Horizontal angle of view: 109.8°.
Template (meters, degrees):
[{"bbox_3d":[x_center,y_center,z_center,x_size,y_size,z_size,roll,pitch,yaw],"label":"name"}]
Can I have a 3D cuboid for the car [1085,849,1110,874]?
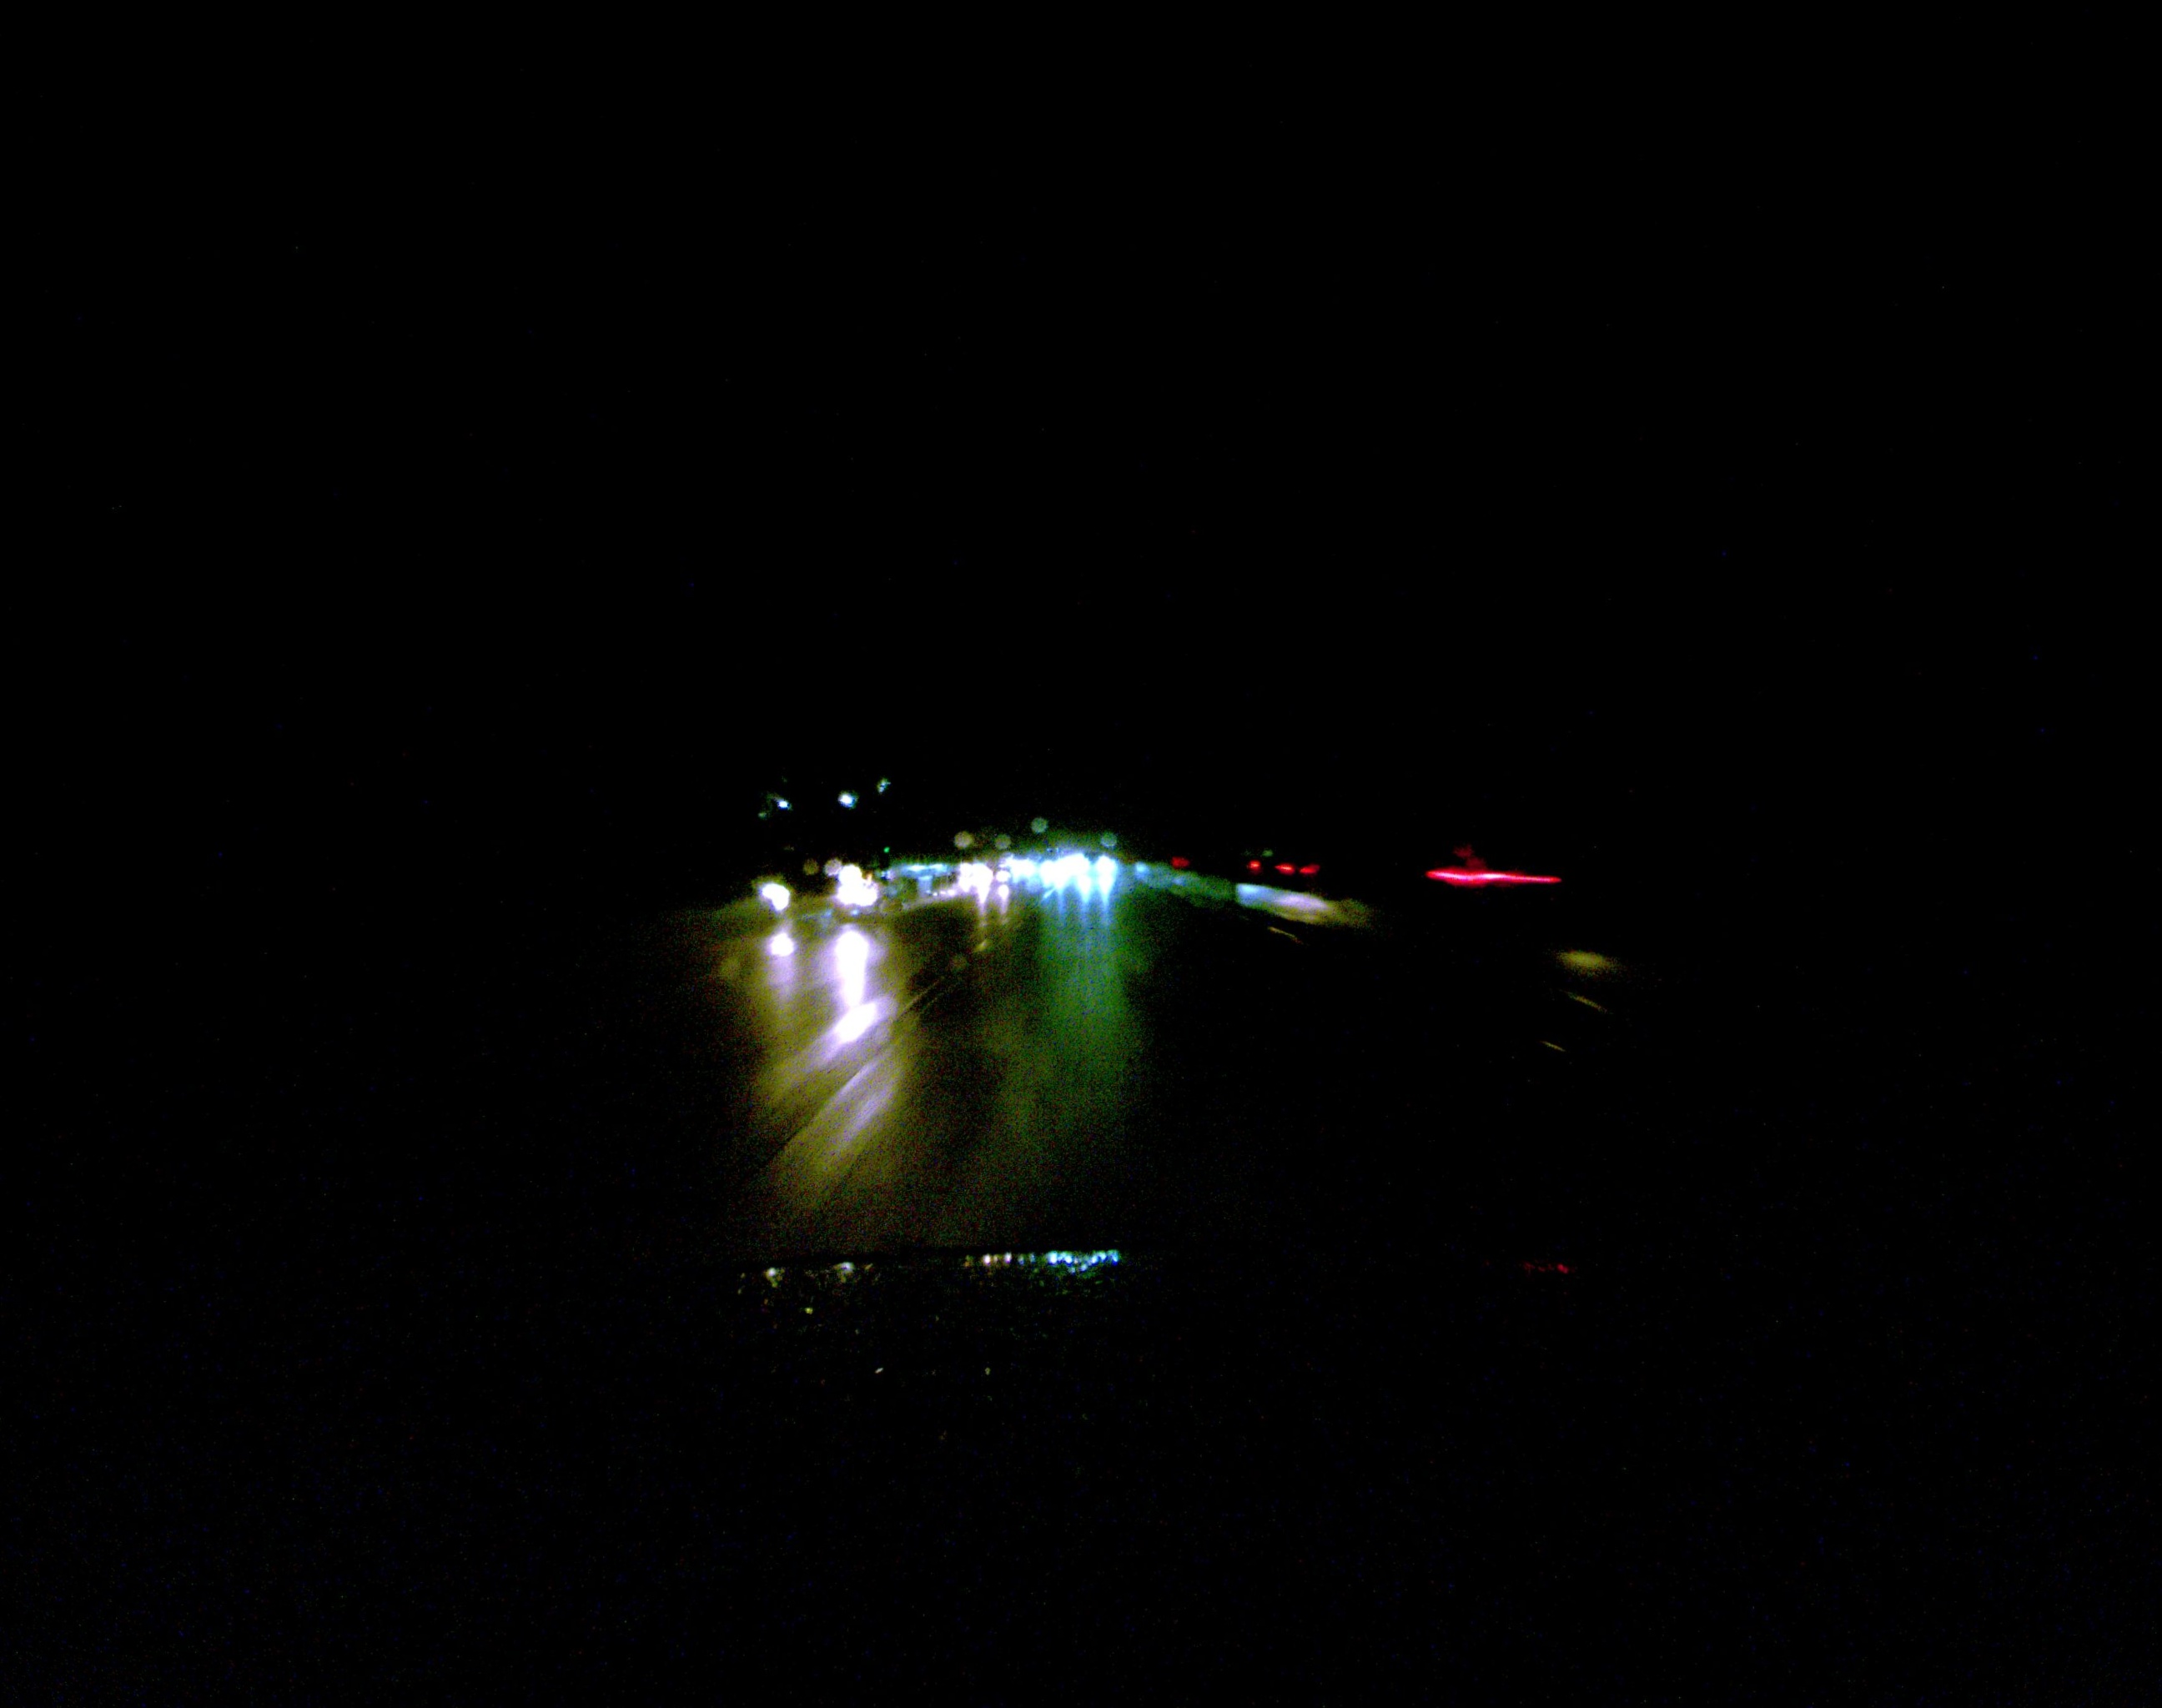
[{"bbox_3d":[1.401,0.573,62.894,1.998,2.002,4.001,-1,0,3],"label":"car"}]

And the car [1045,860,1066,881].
[{"bbox_3d":[-2.701,1.759,81.557,1.998,2.002,4.000,-2,1,1],"label":"car"}]

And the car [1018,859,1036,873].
[{"bbox_3d":[-7.310,1.628,103.615,1.998,1.615,4.625,-2,1,1],"label":"car"}]

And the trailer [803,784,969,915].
[{"bbox_3d":[-7.075,-0.205,30.452,2.746,3.955,13.818,-2,1,1],"label":"trailer"}]

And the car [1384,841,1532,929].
[{"bbox_3d":[9.404,0.708,19.336,1.748,2.002,3.999,-1,0,-1],"label":"car"}]

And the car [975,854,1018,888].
[{"bbox_3d":[-5.198,0.993,47.122,1.998,2.002,4.001,-1,0,3],"label":"car"}]

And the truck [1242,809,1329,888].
[{"bbox_3d":[17.822,-0.561,68.063,3.337,6.068,16.622,-2,1,1],"label":"truck"}]

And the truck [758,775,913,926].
[{"bbox_3d":[-7.175,-0.122,23.006,2.782,3.946,5.197,-2,1,1],"label":"truck"}]

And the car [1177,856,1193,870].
[{"bbox_3d":[15.942,1.382,116.722,1.998,2.002,3.999,-2,1,1],"label":"car"}]
